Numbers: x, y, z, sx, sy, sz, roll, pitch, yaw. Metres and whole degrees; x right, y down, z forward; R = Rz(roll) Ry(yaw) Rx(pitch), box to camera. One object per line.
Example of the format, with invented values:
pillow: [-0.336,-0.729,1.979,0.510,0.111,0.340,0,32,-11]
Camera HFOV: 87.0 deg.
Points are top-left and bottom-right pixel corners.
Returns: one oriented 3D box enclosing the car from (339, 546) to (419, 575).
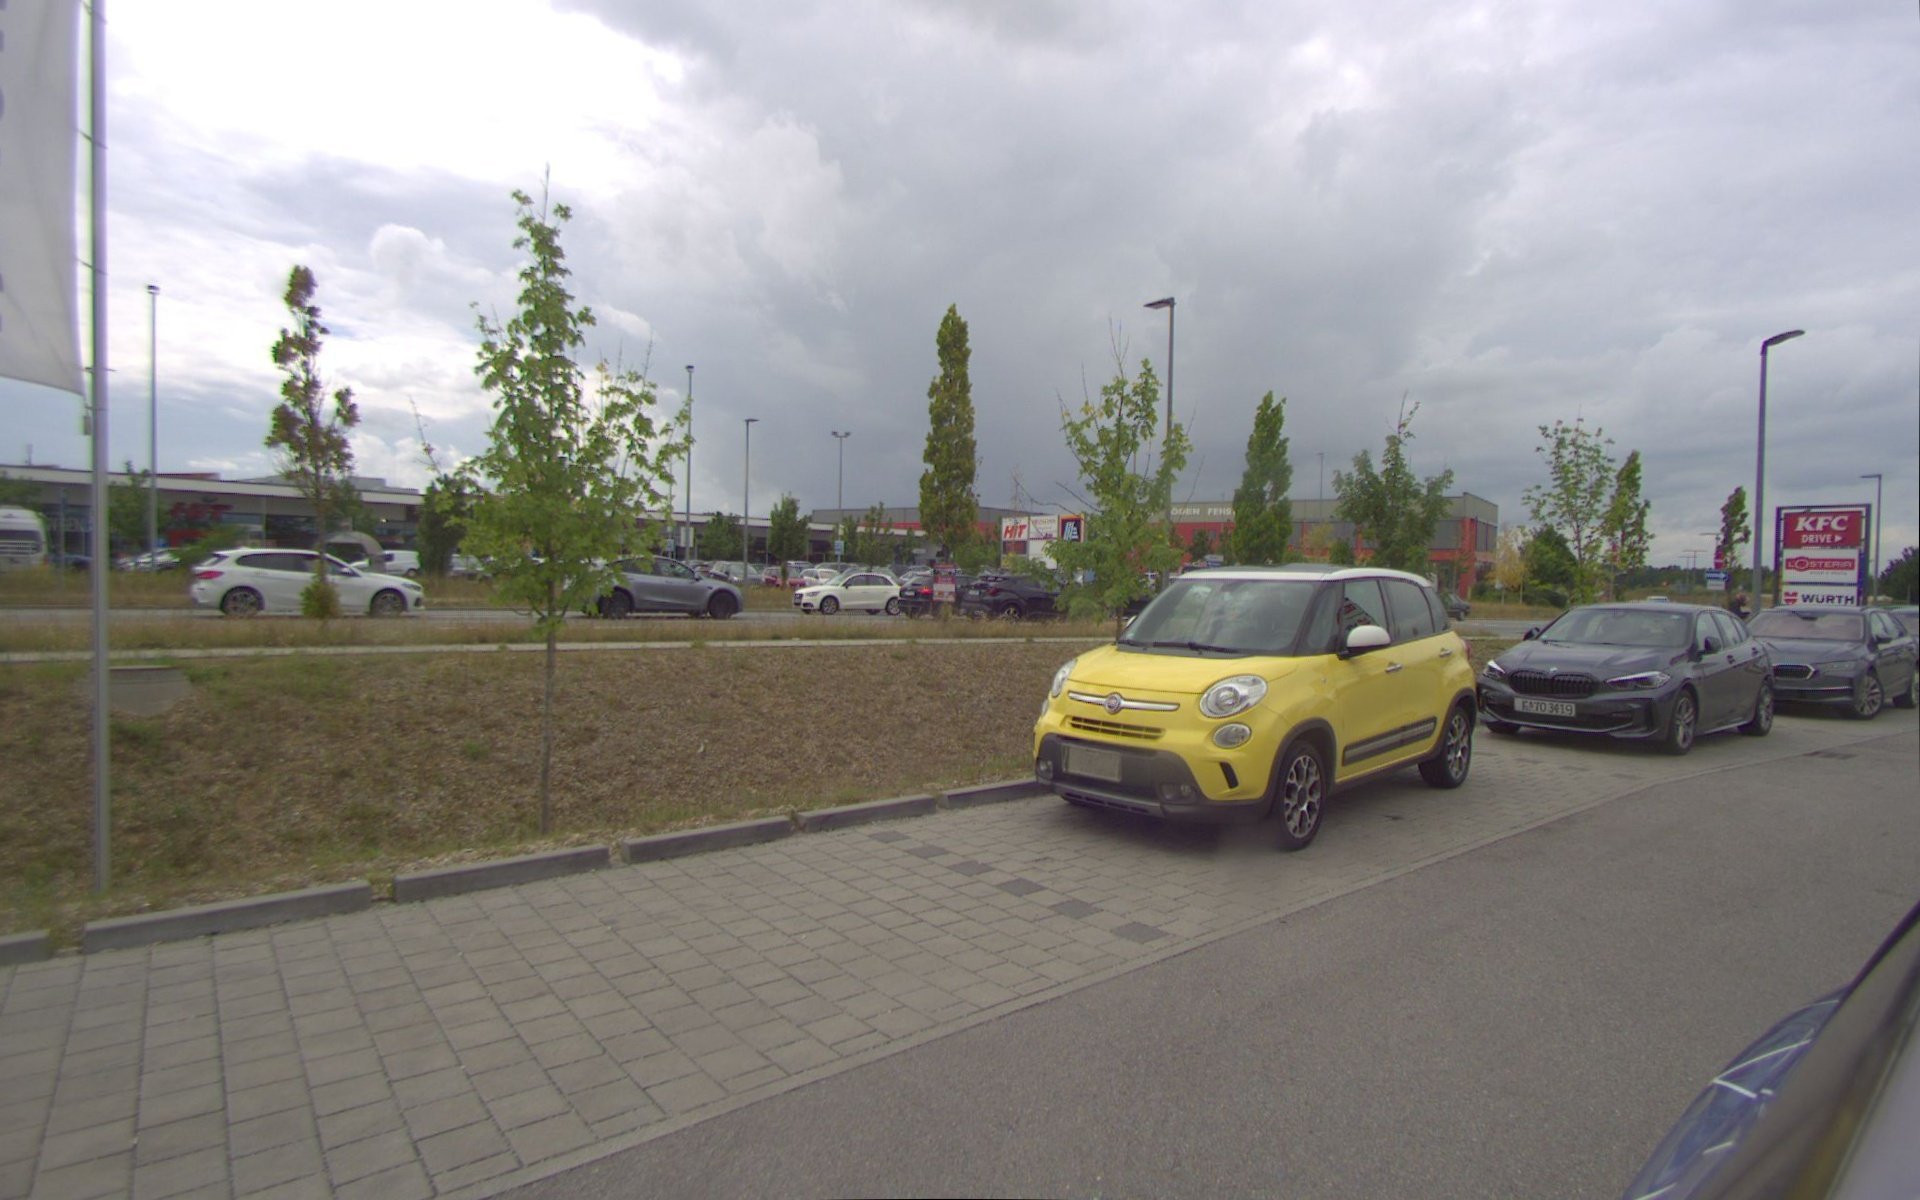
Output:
car: [-36.411,-2.470,63.468,1.866,1.660,3.947,2,2,37]

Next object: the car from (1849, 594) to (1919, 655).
car: [24.817,0.655,25.613,1.477,1.464,3.129,0,3,-32]

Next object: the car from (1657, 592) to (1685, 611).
car: [67.462,0.164,96.012,1.986,1.697,3.952,2,2,33]

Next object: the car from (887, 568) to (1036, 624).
car: [0.090,-0.129,31.040,4.255,1.588,1.909,0,2,-37]

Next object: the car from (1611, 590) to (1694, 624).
car: [33.715,0.335,49.244,4.287,1.534,2.000,1,2,-36]

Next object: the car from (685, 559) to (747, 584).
car: [-17.164,-1.983,71.304,1.866,1.660,3.947,2,2,37]

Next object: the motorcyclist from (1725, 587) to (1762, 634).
motorcyclist: [22.666,0.287,29.291,0.564,1.332,0.673,1,1,-35]

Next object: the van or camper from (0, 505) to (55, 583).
van or camper: [-32.448,-1.918,34.362,2.248,2.523,3.998,1,2,-38]

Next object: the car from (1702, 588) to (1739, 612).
car: [59.948,-0.021,79.739,1.901,1.836,3.937,3,2,43]

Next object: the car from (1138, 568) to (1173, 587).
car: [17.809,-2.056,92.030,1.751,1.674,3.790,2,3,34]

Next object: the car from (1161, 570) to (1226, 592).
car: [15.864,-1.299,68.859,1.964,1.460,3.997,0,1,-39]

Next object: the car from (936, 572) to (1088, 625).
car: [1.476,-0.051,28.199,3.922,1.371,1.761,1,2,-33]

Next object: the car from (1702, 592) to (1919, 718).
car: [12.464,0.669,14.426,4.546,1.509,1.753,0,1,-36]

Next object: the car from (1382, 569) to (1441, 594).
car: [39.195,-1.598,87.883,4.414,2.149,1.973,2,1,37]

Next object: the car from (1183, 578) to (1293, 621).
car: [10.518,-0.008,38.225,3.921,1.513,1.825,1,1,-32]

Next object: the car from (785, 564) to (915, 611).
car: [-3.678,-0.416,33.932,3.978,1.499,1.759,0,1,-35]

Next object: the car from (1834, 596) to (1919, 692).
car: [16.995,0.709,17.498,4.401,1.509,1.754,0,1,-34]

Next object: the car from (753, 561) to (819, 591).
car: [-9.125,-1.269,52.775,1.745,1.494,3.999,1,2,-37]

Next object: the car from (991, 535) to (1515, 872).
car: [2.312,0.497,7.228,4.228,1.704,1.748,0,1,-44]

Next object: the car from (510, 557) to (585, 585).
car: [-25.924,-1.809,63.696,1.866,1.660,3.947,2,2,37]

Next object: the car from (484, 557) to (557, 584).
car: [-28.428,-1.900,65.573,1.866,1.660,3.947,2,2,37]

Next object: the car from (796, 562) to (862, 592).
car: [-7.012,-1.259,53.897,1.745,1.494,3.999,1,2,-37]

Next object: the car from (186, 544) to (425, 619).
car: [-14.077,-0.407,21.883,4.173,1.468,1.799,-1,2,-40]

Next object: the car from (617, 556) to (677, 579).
car: [-23.535,-2.442,76.231,1.866,1.660,3.947,2,2,37]

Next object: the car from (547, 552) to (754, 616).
car: [-7.926,-0.395,26.185,4.797,1.526,1.809,0,2,-40]

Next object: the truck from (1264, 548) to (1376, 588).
truck: [28.111,-2.481,79.028,8.011,2.982,2.686,0,2,-14]

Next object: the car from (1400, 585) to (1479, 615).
car: [24.609,-0.011,51.895,4.448,1.499,1.758,0,1,-36]

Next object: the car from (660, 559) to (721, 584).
car: [-19.394,-2.048,73.007,1.866,1.660,3.947,2,2,37]

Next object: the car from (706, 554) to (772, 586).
car: [-11.210,-1.535,51.184,1.745,1.494,3.999,1,2,-37]

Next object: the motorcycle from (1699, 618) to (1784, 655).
motorcycle: [22.618,1.044,29.318,0.546,0.928,1.869,1,1,-35]

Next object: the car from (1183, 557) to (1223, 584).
car: [21.371,-2.579,88.811,2.012,2.232,4.296,2,2,34]

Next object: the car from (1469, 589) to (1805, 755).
car: [7.387,0.628,10.893,4.227,1.433,1.752,0,1,-38]
